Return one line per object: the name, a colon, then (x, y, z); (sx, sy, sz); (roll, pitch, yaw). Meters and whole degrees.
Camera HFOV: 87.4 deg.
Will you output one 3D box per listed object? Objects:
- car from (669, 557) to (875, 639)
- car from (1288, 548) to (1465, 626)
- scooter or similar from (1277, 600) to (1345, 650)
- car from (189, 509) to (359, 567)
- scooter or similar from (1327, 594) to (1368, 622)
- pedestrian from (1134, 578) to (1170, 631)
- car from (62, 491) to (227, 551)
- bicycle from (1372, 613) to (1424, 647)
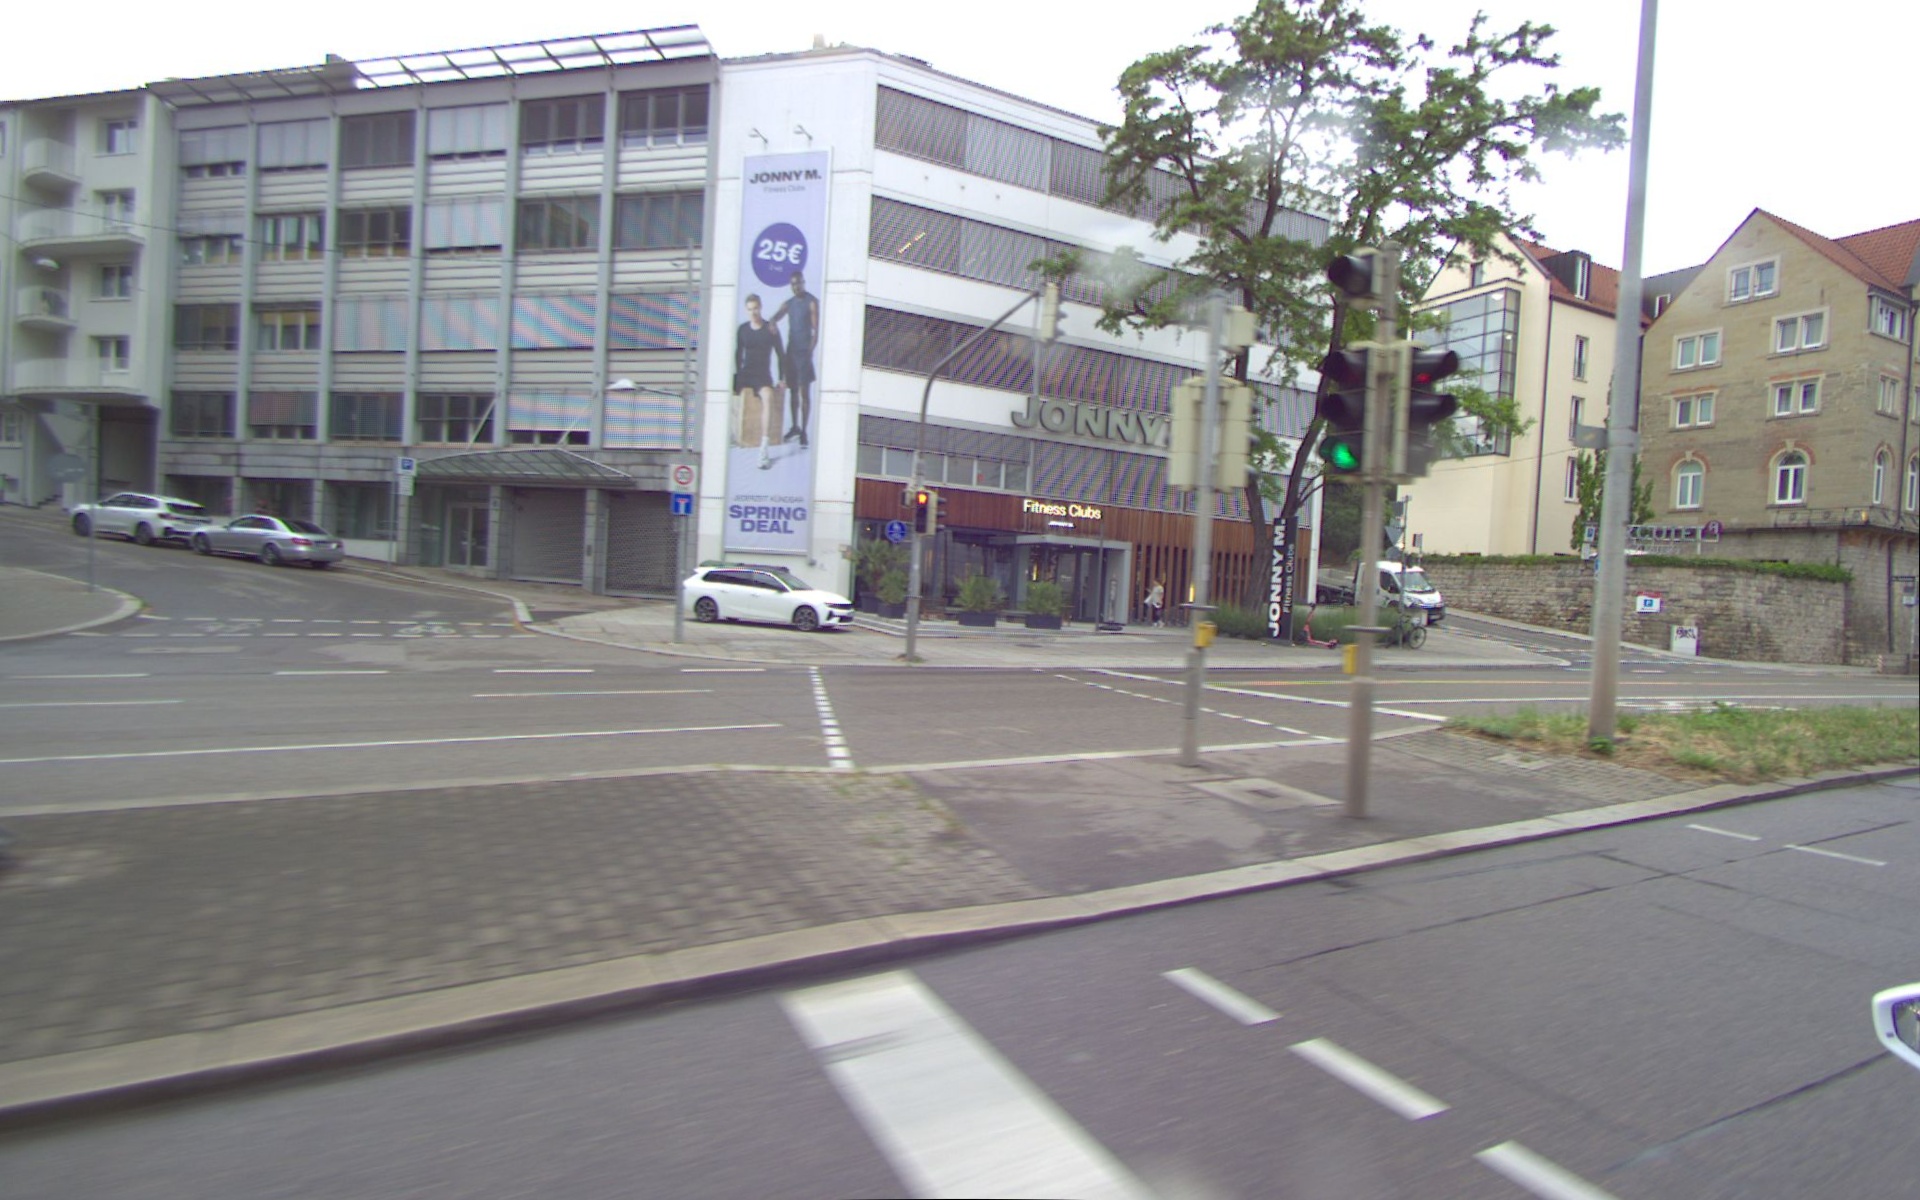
car: (-4.817, -0.096, 25.997); (4.746, 1.676, 2.001); (5, 3, 12)
car: (17.170, -0.679, 41.999); (2.479, 2.307, 6.879); (-2, 9, -25)
scooter or similar: (10.174, 0.718, 29.131); (1.726, 1.263, 0.369); (6, 3, 35)
car: (-21.606, -1.934, 31.687); (4.397, 1.485, 2.001); (5, 3, 15)
scooter or similar: (14.991, 0.304, 38.888); (0.438, 0.934, 1.462); (1, 6, -28)
pedestrian: (6.215, 0.145, 32.539); (0.831, 1.663, 0.765); (1, 0, -27)
car: (-26.945, -2.606, 33.209); (4.397, 1.596, 2.001); (5, 3, 15)
bicycle: (13.679, 0.933, 31.354); (1.735, 1.004, 0.455); (2, 1, -27)
